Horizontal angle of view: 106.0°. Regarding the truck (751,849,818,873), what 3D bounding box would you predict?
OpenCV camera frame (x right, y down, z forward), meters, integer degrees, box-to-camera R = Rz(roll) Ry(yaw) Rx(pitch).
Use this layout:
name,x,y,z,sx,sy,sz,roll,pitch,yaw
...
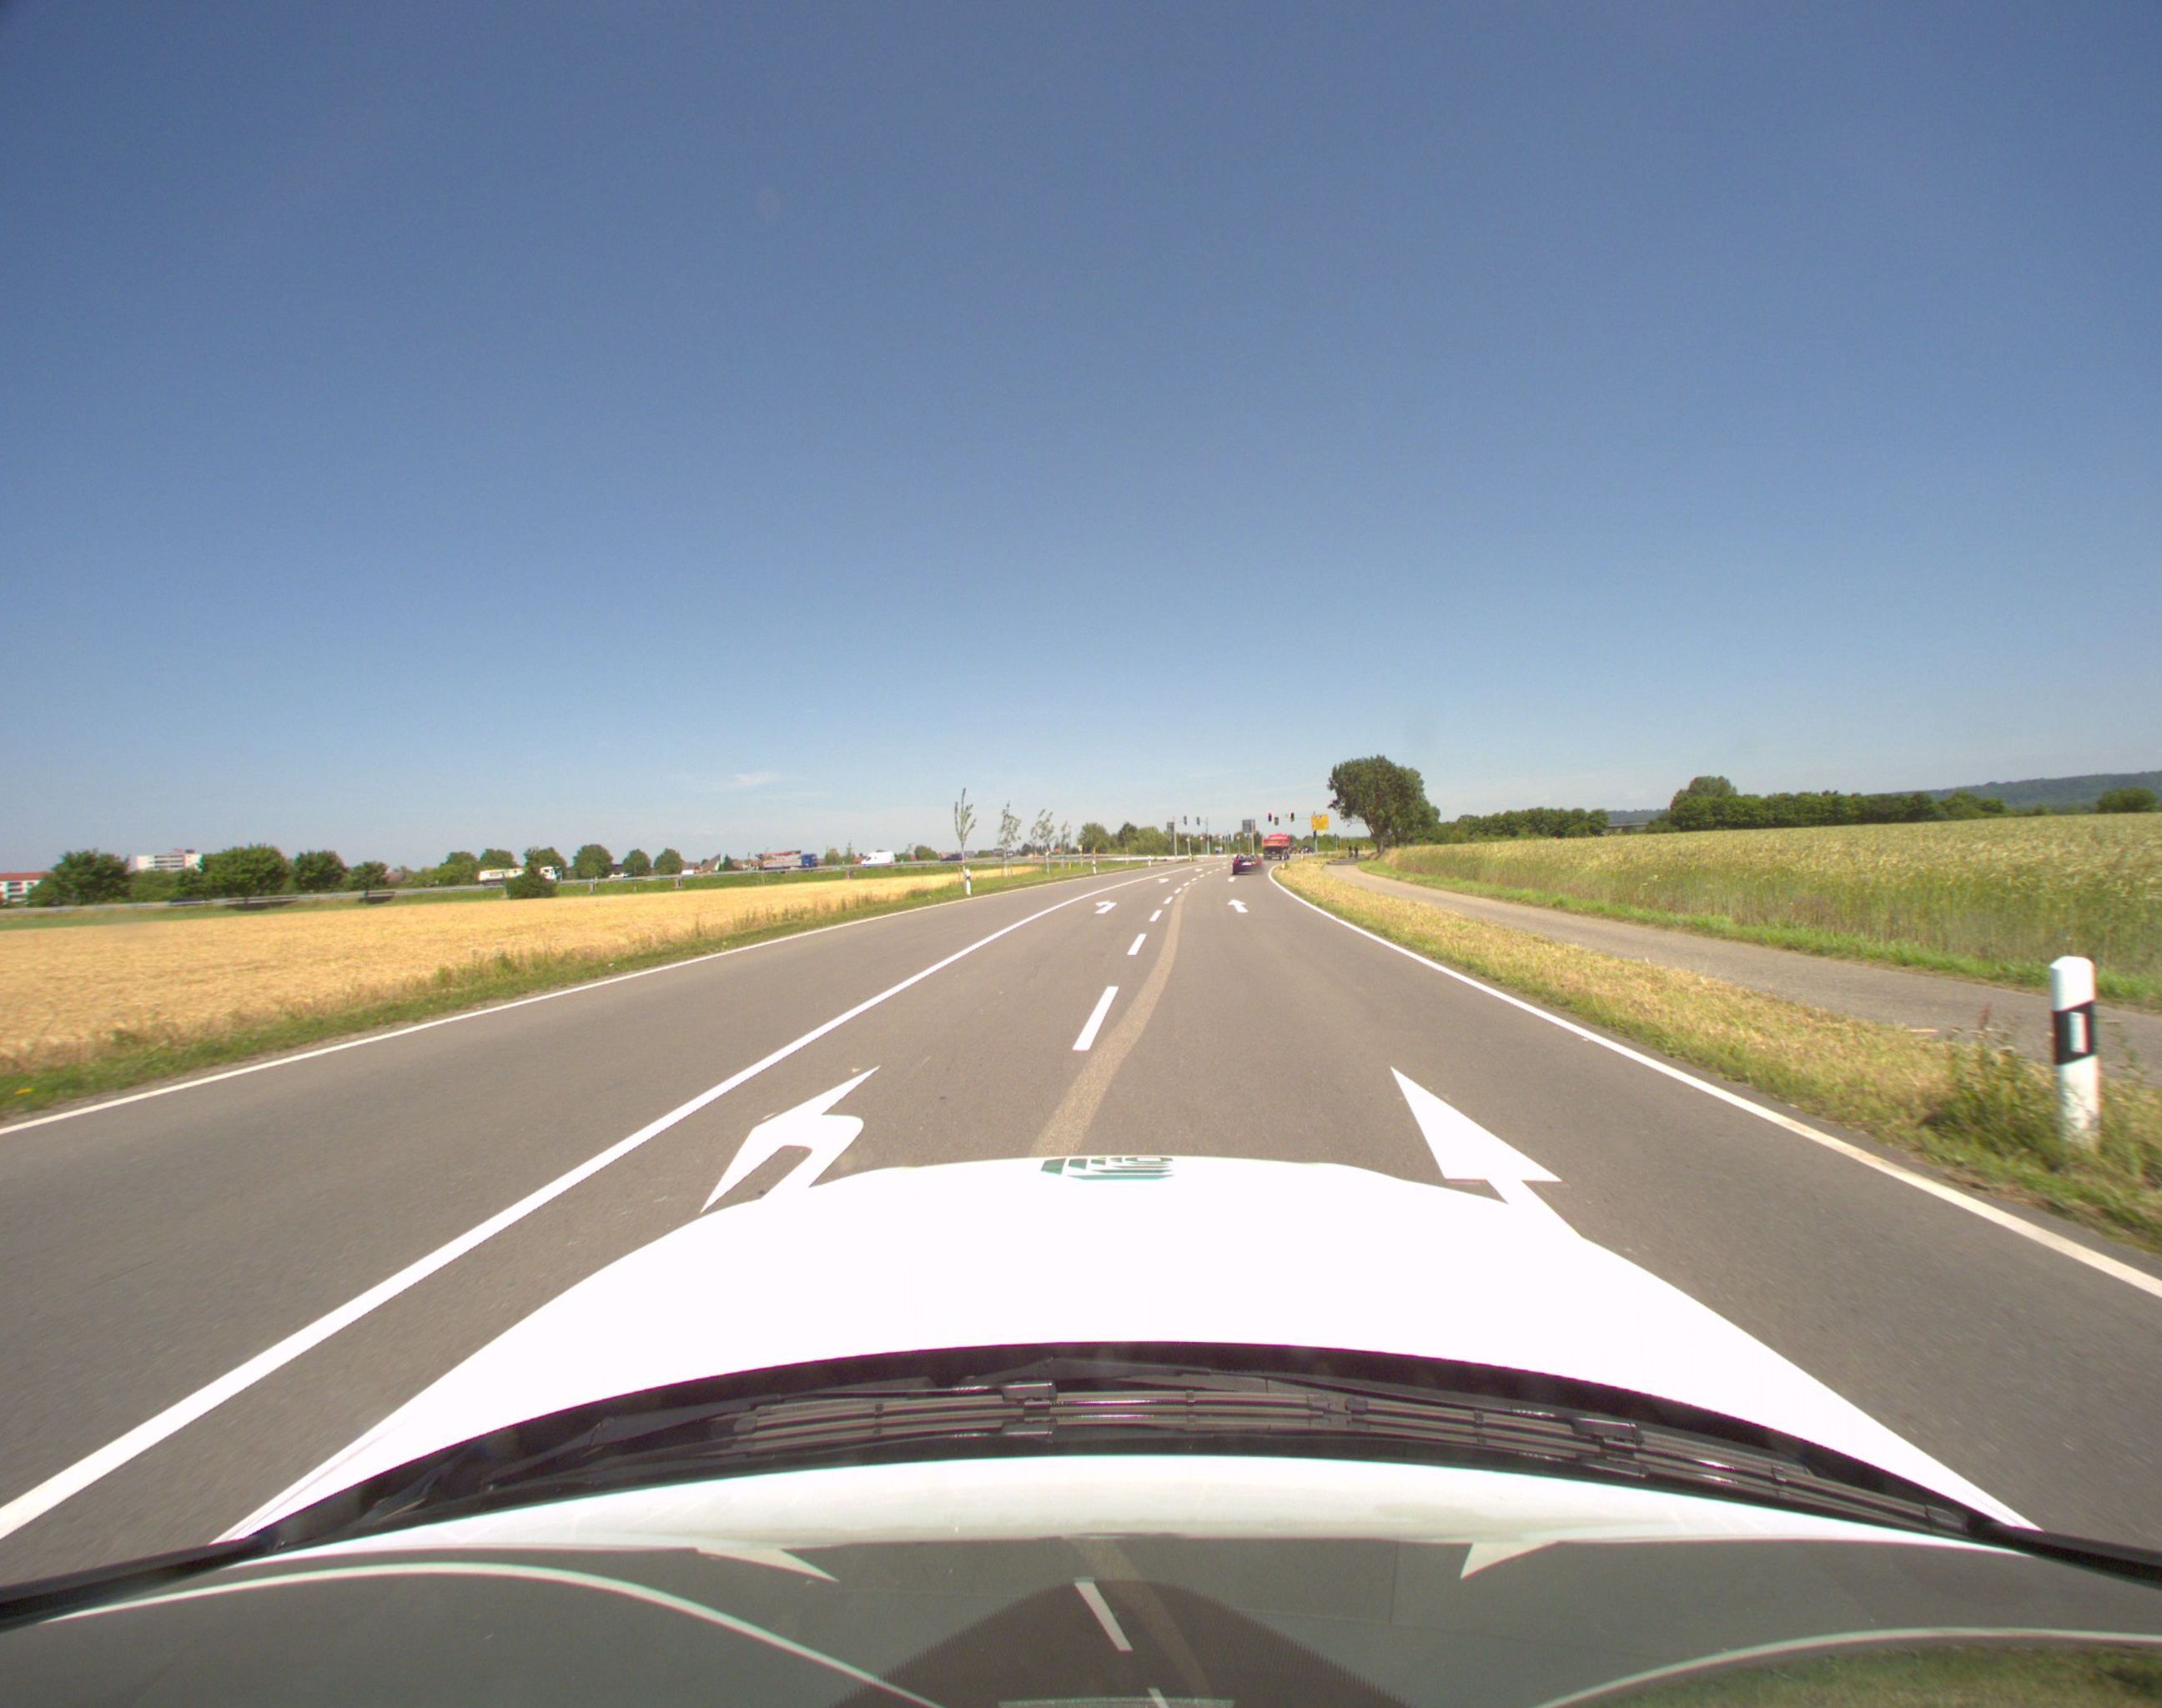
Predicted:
name,x,y,z,sx,sy,sz,roll,pitch,yaw
truck,-49.859,1.151,137.086,10.048,3.793,2.625,-2,0,-1

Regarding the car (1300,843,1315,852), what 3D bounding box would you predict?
name,x,y,z,sx,sy,sz,roll,pitch,yaw
car,42.733,-1.238,153.826,1.913,1.739,4.917,-1,0,24

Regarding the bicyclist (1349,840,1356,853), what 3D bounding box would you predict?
name,x,y,z,sx,sy,sz,roll,pitch,yaw
bicyclist,35.781,-0.995,107.397,0.582,1.734,1.179,3,2,27

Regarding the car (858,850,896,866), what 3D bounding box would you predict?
name,x,y,z,sx,sy,sz,roll,pitch,yaw
car,-35.236,0.677,140.595,5.891,2.421,2.250,-2,0,4

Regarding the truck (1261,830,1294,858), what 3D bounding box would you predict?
name,x,y,z,sx,sy,sz,roll,pitch,yaw
truck,23.342,-1.118,96.653,2.691,3.053,8.206,-2,-1,21

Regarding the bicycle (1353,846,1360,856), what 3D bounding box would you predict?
name,x,y,z,sx,sy,sz,roll,pitch,yaw
bicycle,35.513,-0.389,105.092,0.692,1.210,2.062,1,1,23

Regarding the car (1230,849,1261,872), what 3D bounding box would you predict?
name,x,y,z,sx,sy,sz,roll,pitch,yaw
car,10.170,0.412,50.068,1.735,1.376,3.692,-1,-1,13

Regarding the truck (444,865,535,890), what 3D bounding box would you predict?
name,x,y,z,sx,sy,sz,roll,pitch,yaw
truck,-97.722,3.851,134.809,11.986,3.614,2.974,-2,0,-9

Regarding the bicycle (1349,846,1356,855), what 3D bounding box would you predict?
name,x,y,z,sx,sy,sz,roll,pitch,yaw
bicycle,35.783,-0.420,107.433,0.600,1.176,2.063,2,1,27

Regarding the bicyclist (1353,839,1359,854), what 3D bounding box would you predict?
name,x,y,z,sx,sy,sz,roll,pitch,yaw
bicyclist,35.468,-0.970,104.988,0.622,1.782,0.983,3,2,24
